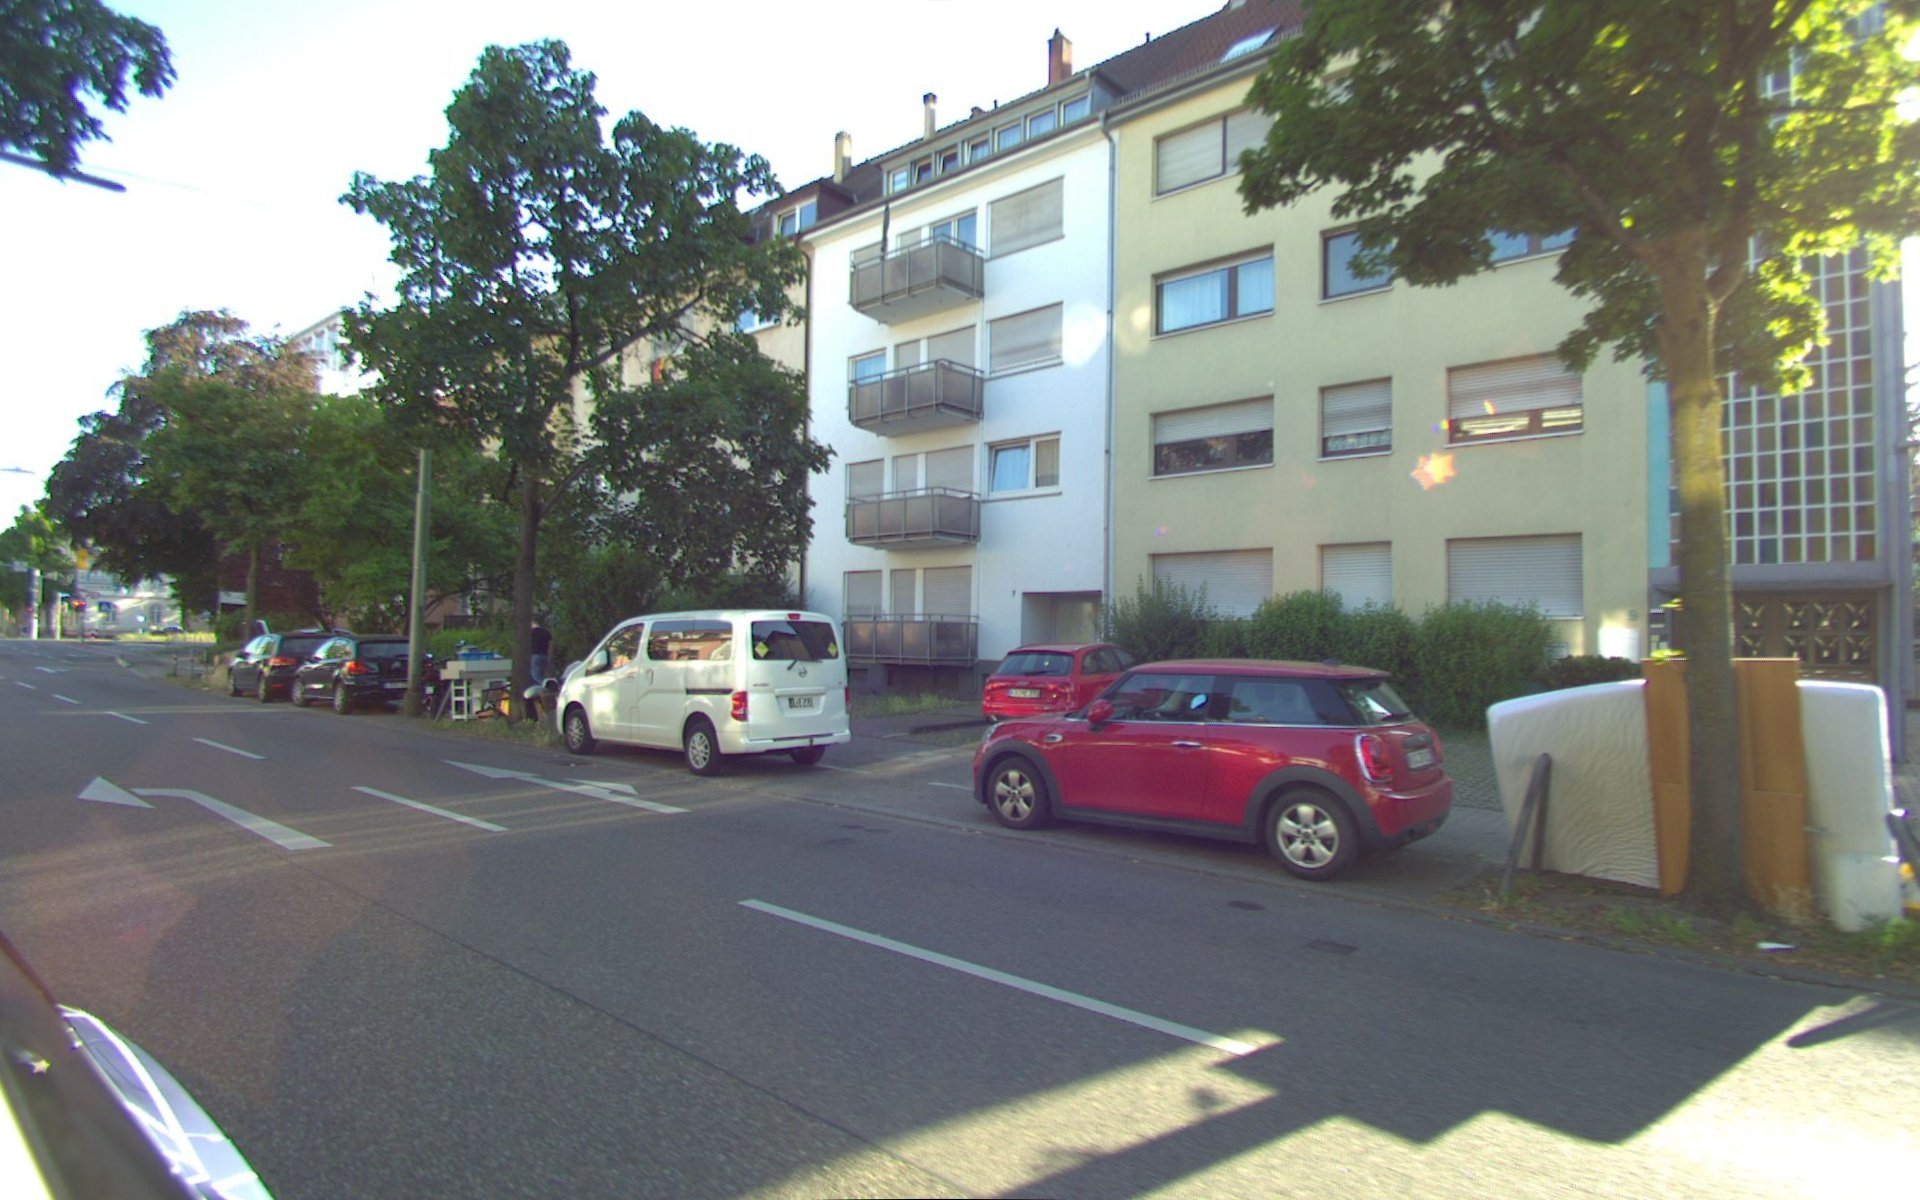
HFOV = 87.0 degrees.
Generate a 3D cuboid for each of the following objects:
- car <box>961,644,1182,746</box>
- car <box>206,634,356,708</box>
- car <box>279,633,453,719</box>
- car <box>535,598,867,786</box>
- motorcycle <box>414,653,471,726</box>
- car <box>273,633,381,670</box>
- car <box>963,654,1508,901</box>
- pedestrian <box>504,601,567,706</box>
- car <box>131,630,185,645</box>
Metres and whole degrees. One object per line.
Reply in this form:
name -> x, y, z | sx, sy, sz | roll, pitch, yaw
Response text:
car -> 1.972, 1.415, 16.294 | 1.990, 1.373, 4.681 | -1, -3, 27
car -> -15.319, 1.535, 22.759 | 4.194, 1.514, 1.732 | -2, -4, 41
car -> -11.703, 1.427, 19.847 | 3.976, 1.514, 1.732 | -2, -4, 41
car -> -3.341, 1.038, 12.561 | 4.457, 1.934, 1.751 | -2, -4, 41
motorcycle -> -9.094, 1.545, 17.824 | 0.434, 1.201, 1.711 | 1, -3, -12
car -> -26.894, 2.172, 43.080 | 1.812, 1.497, 3.465 | -2, -3, 37
car -> 2.004, 1.161, 7.963 | 3.784, 1.432, 1.699 | -2, -4, 41
pedestrian -> -8.529, 1.069, 20.323 | 0.975, 2.029, 0.759 | -2, -4, 40
car -> -77.044, 3.609, 97.240 | 1.996, 1.457, 3.602 | -2, -3, 36
